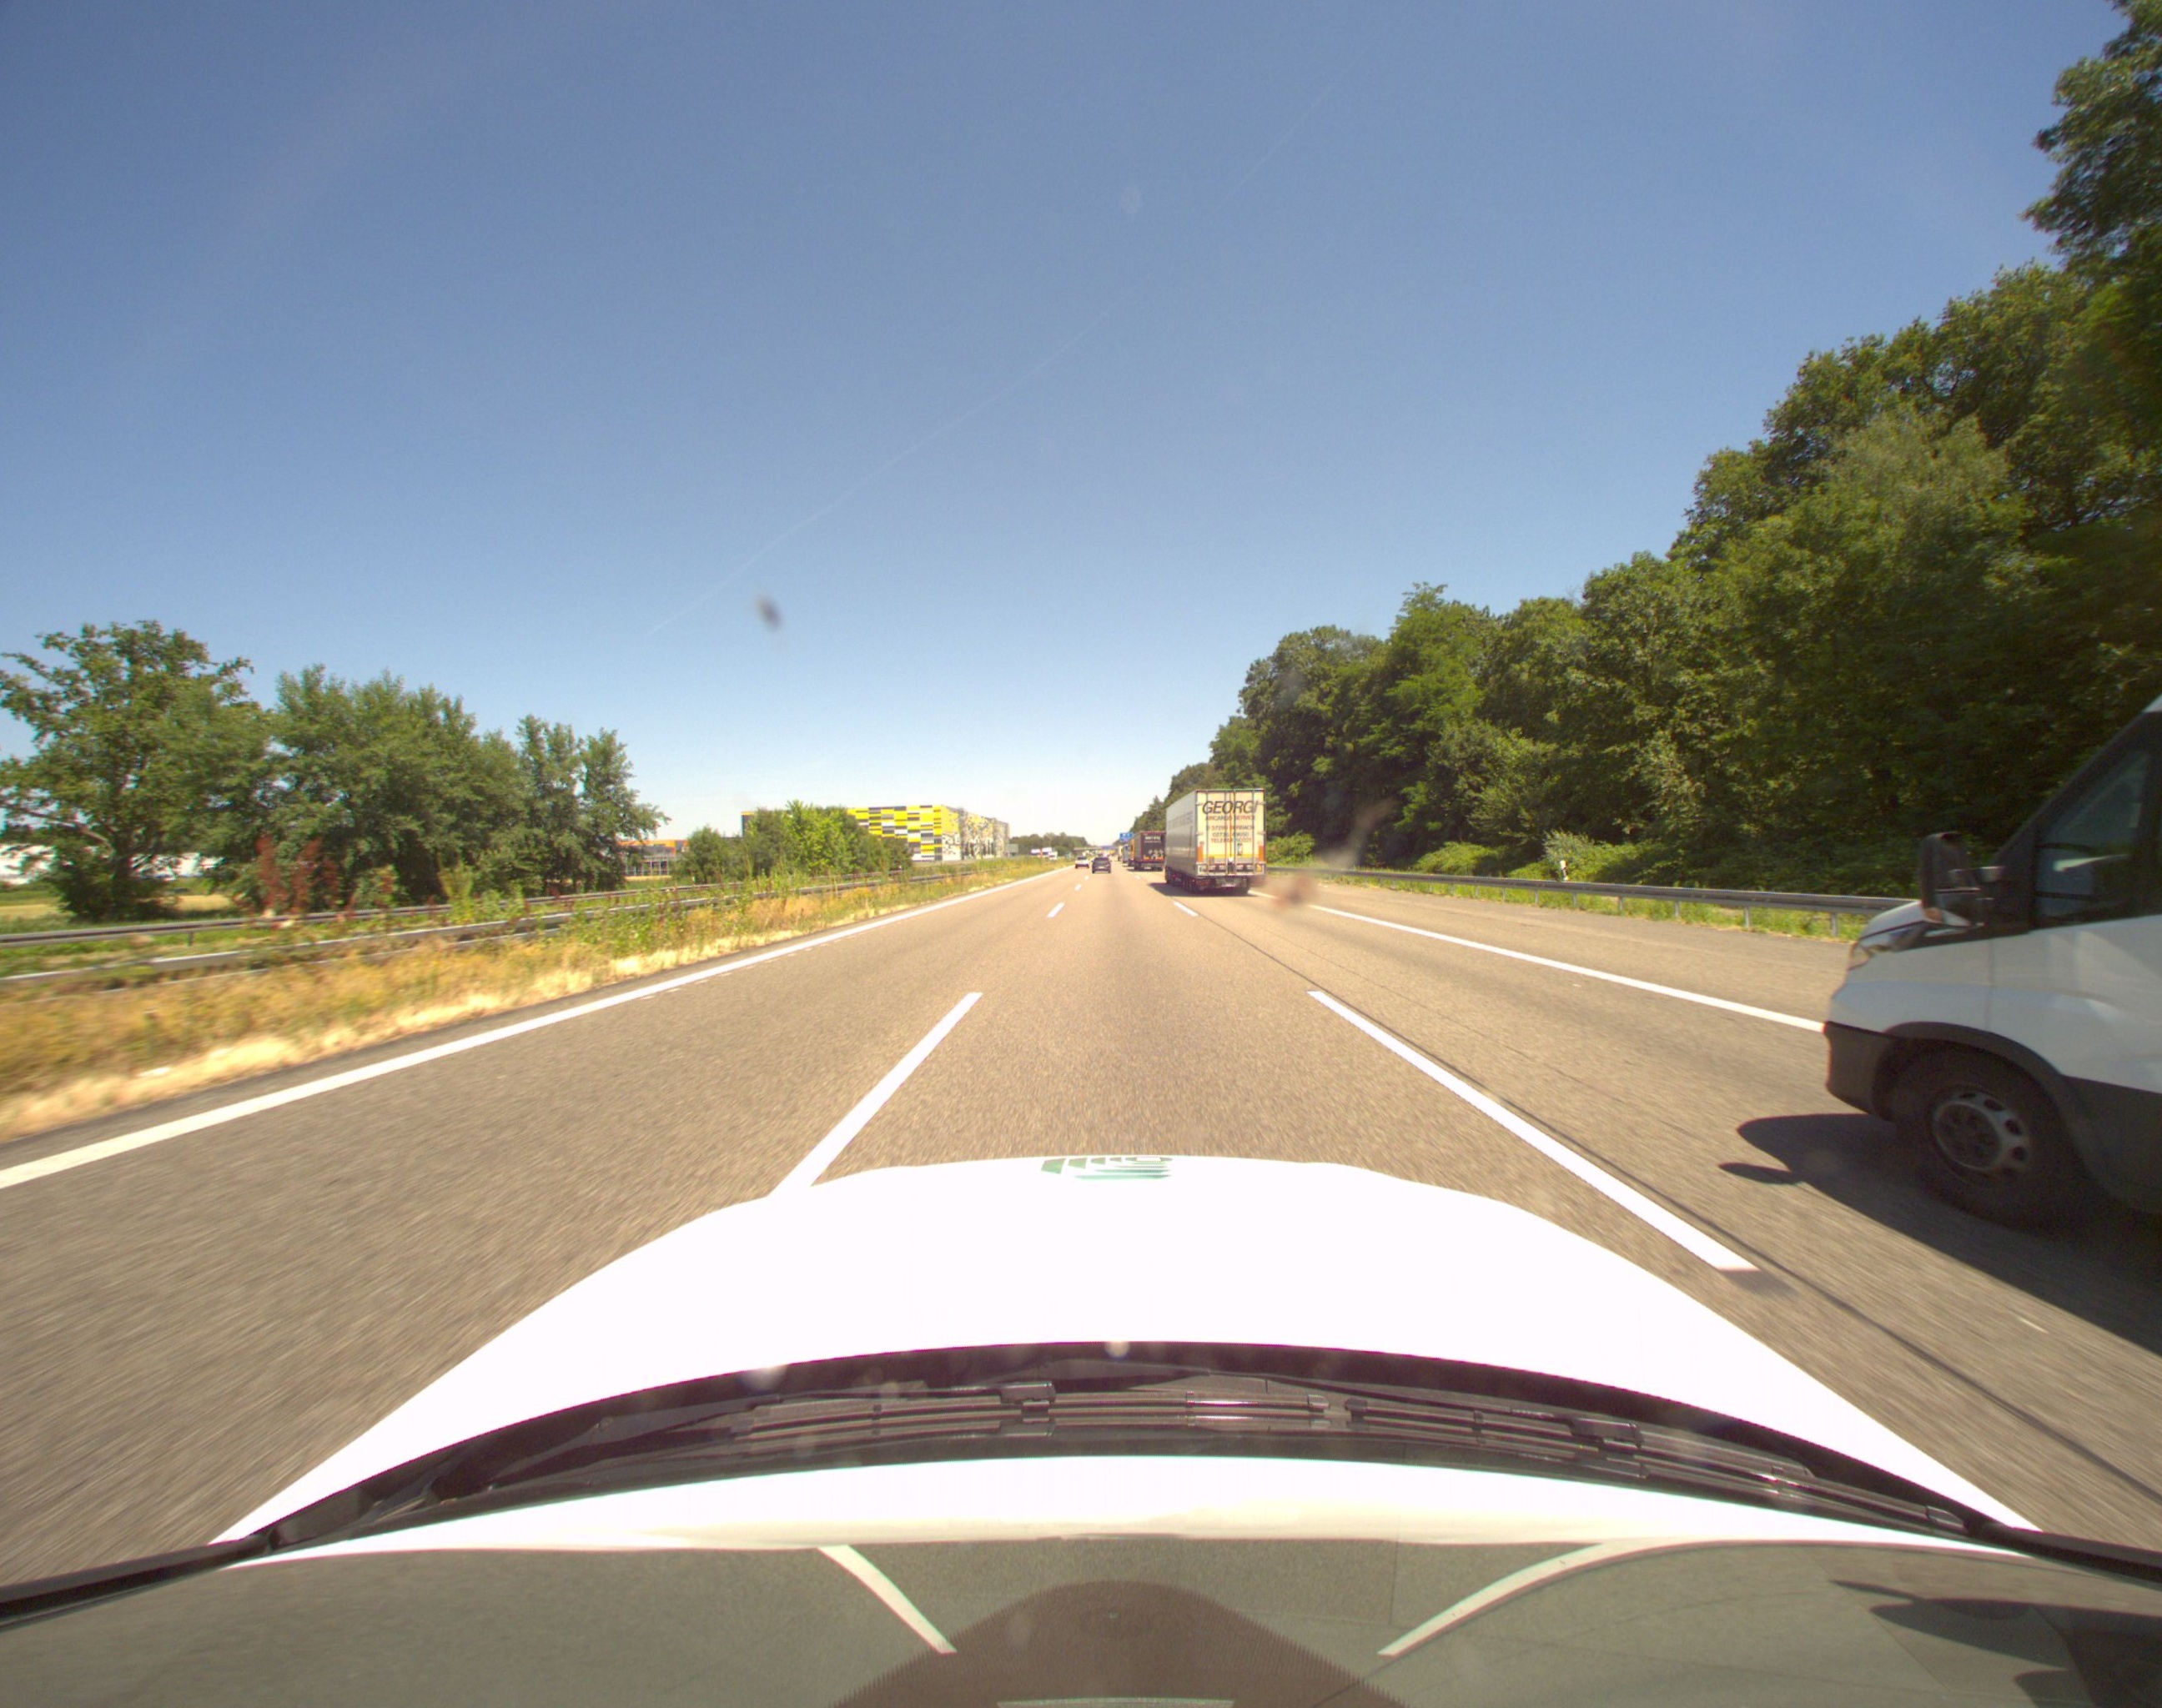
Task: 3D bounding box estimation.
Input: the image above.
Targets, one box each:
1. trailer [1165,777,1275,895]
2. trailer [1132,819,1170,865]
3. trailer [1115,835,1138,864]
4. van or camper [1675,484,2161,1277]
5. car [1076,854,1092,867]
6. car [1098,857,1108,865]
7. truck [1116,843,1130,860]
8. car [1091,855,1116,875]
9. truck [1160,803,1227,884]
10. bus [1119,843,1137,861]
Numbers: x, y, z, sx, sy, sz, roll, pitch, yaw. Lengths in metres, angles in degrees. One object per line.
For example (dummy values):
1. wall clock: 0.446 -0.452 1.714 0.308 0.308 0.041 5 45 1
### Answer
1. trailer: 5.746 -0.639 36.397 2.982 4.289 13.422 0 0 2
2. trailer: 7.346 -1.140 87.945 3.095 4.507 14.898 -1 0 1
3. trailer: 6.523 -0.626 118.290 2.824 3.953 11.687 -1 0 1
4. van or camper: 4.578 0.081 1.730 2.015 2.637 6.488 0 0 1
5. car: 0.446 0.821 105.458 1.987 1.728 4.131 -1 0 1
6. car: 4.451 1.395 163.633 1.934 1.706 4.001 -1 0 1
7. truck: 10.835 -0.549 210.517 3.409 4.126 9.570 -2 0 2
8. car: 2.106 0.989 77.252 2.208 1.790 5.395 -2 0 1
9. truck: 5.984 -0.514 44.088 2.991 4.125 5.254 -1 -1 1
10. bus: 9.371 -0.401 161.803 3.052 3.326 8.273 -2 0 0
